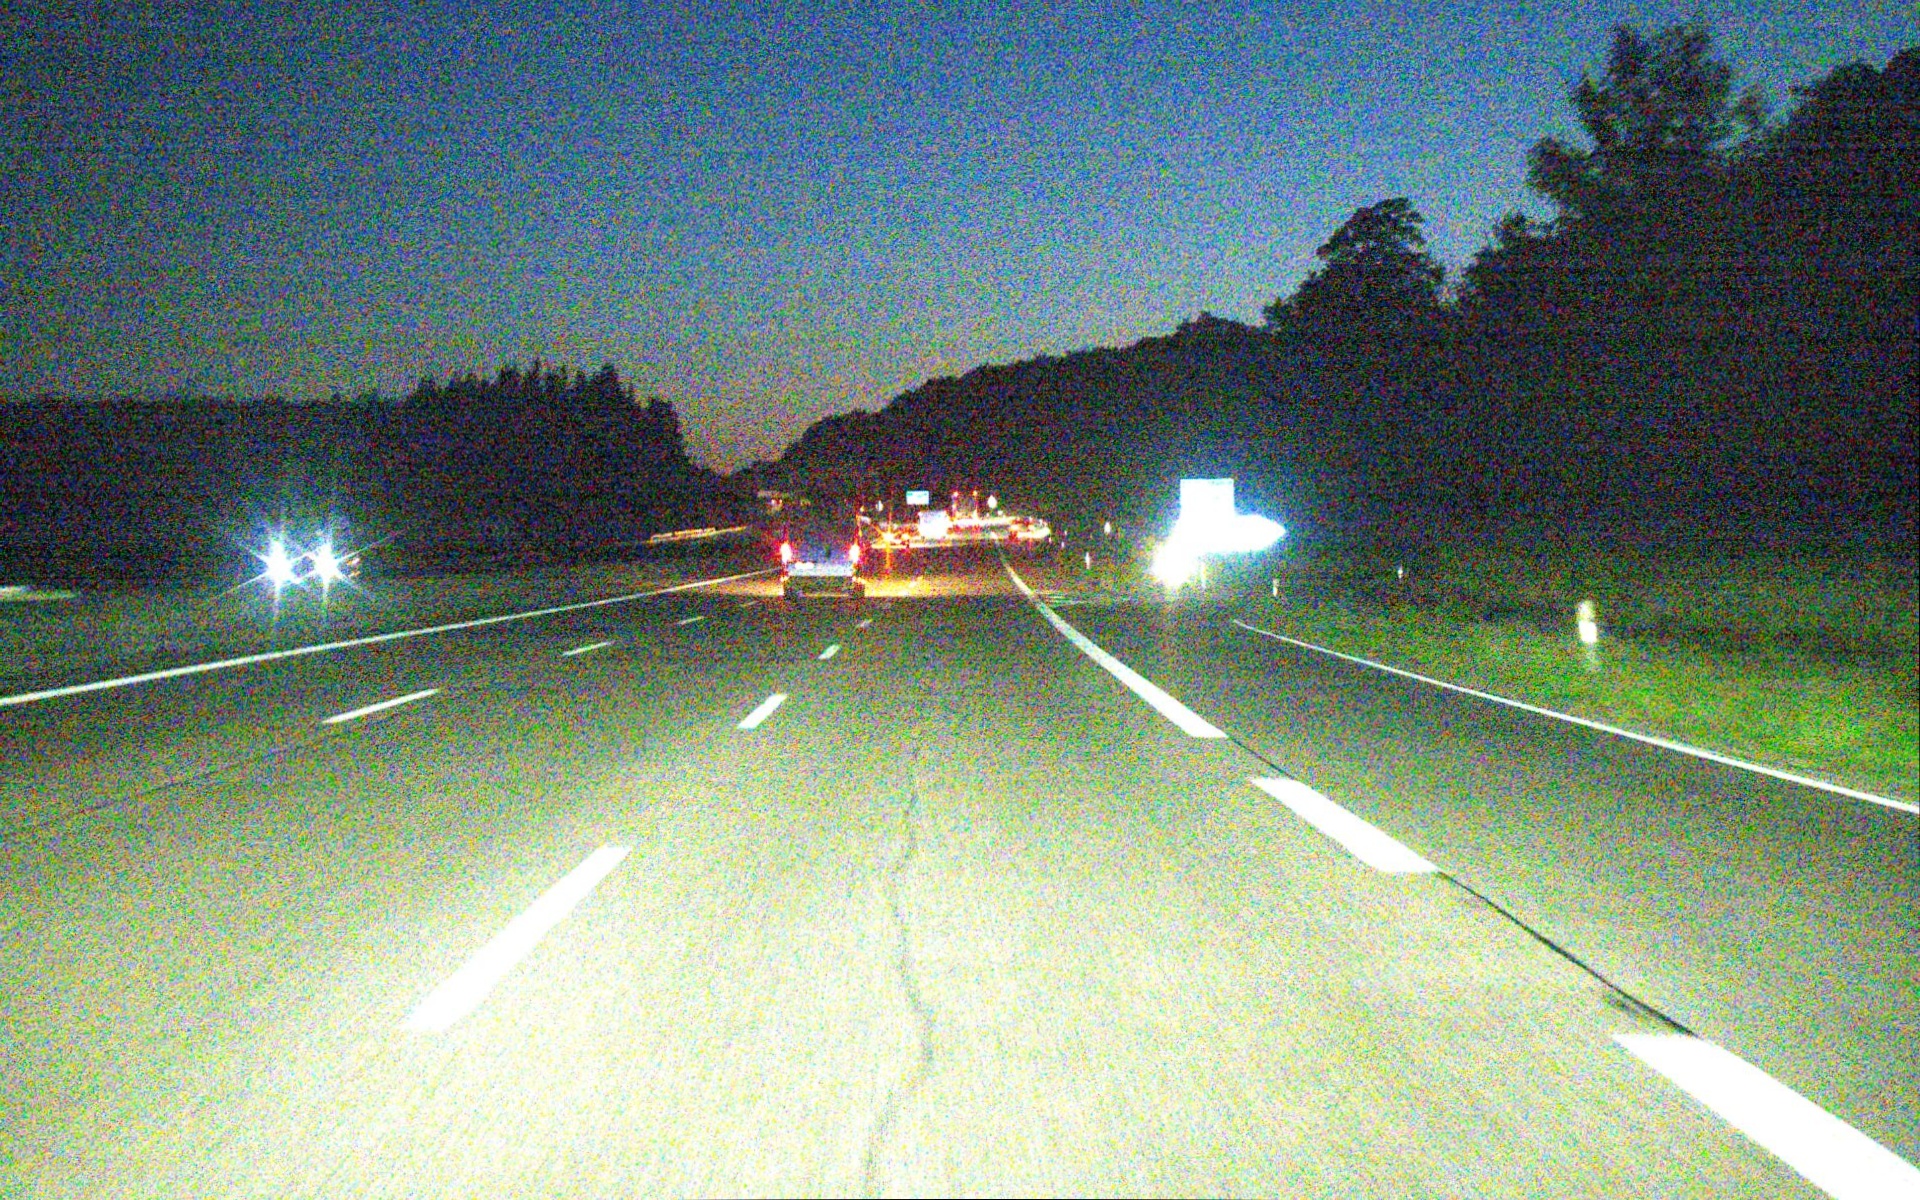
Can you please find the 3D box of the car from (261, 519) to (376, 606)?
[{"bbox_3d":[-22.725,-1.313,122.032,2.846,2.927,6.602,1,0,-1],"label":"car"}]

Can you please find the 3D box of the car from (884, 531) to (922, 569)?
[{"bbox_3d":[-4.312,-3.723,256.866,2.786,2.724,6.299,0,-1,-1],"label":"car"}]

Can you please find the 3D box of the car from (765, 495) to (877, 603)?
[{"bbox_3d":[-3.694,-1.312,92.363,2.786,2.724,6.299,0,-1,0],"label":"car"}]
